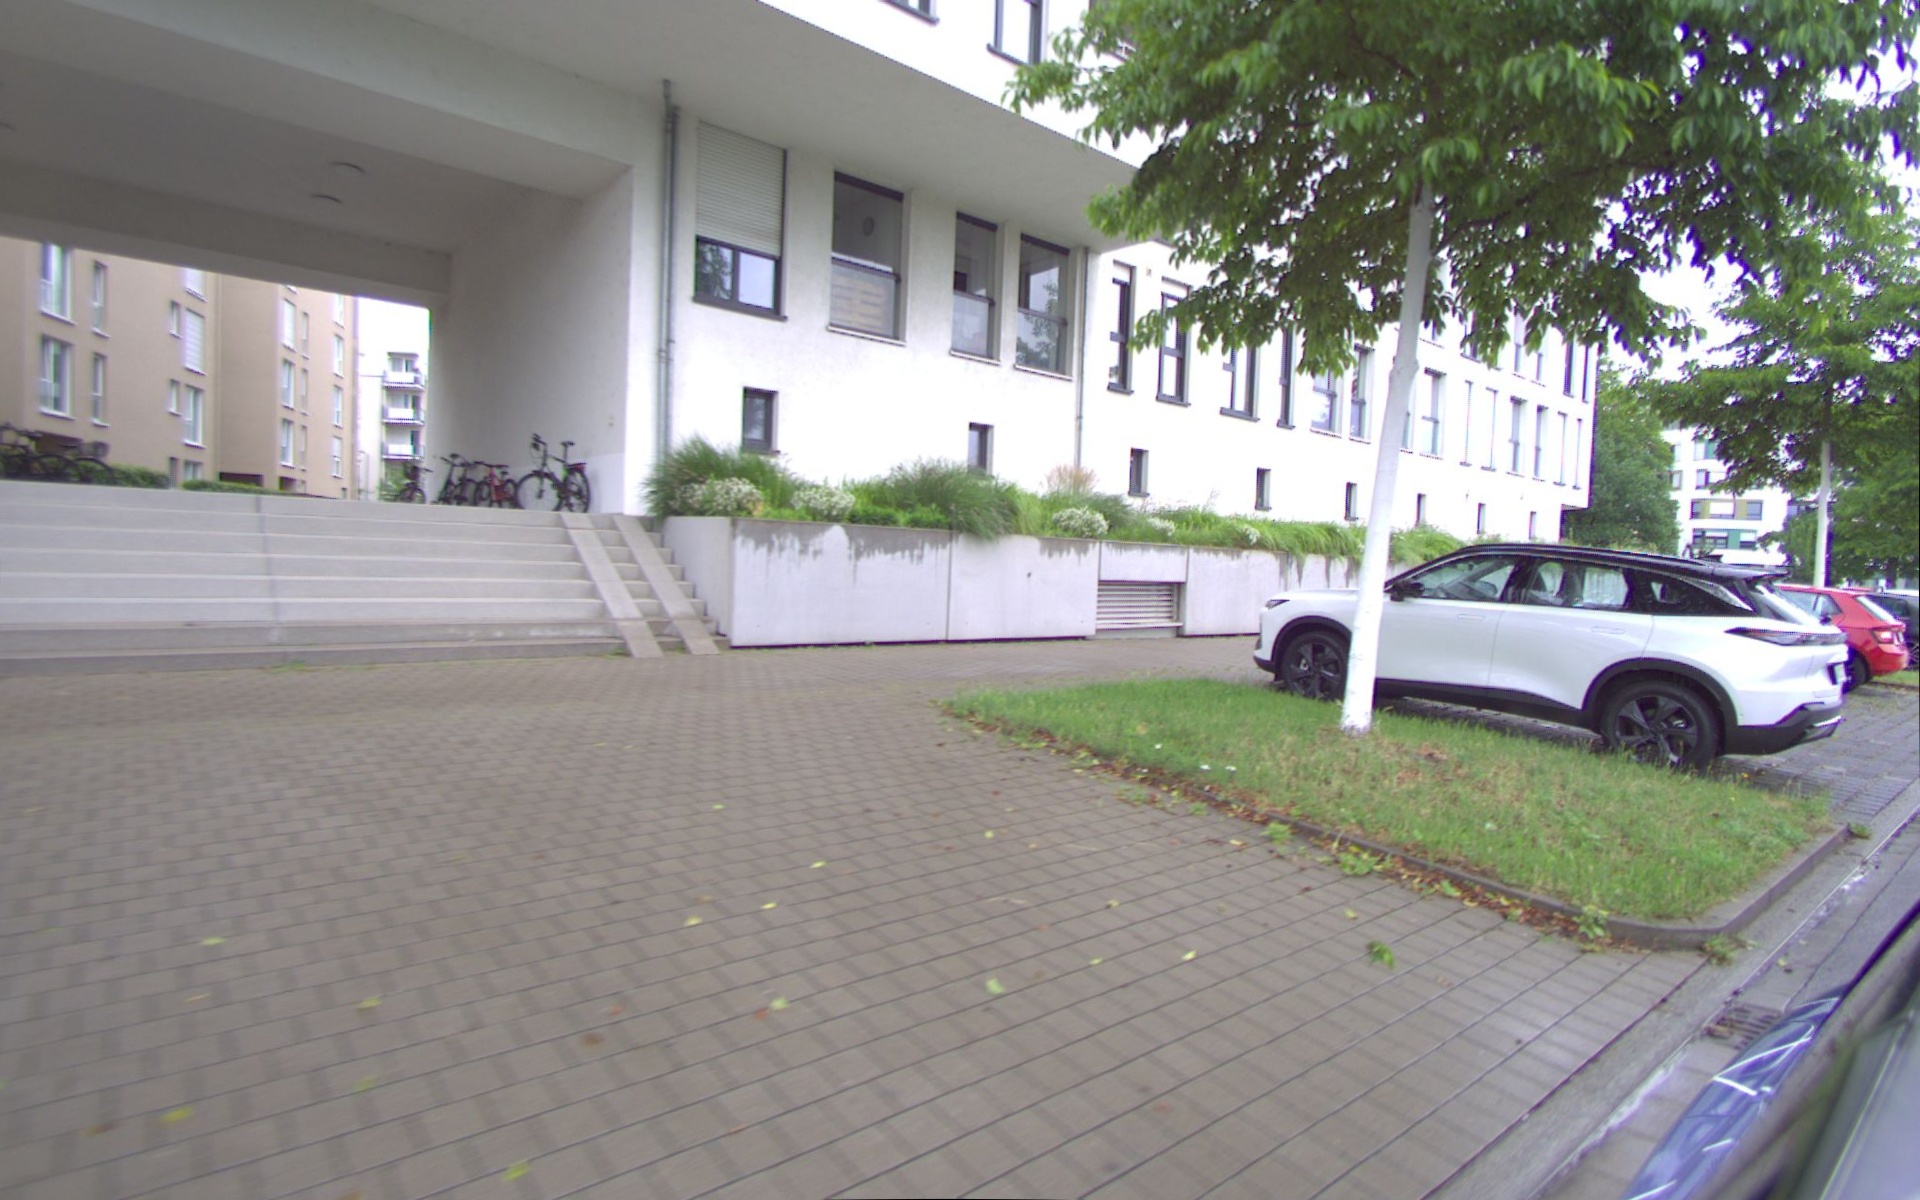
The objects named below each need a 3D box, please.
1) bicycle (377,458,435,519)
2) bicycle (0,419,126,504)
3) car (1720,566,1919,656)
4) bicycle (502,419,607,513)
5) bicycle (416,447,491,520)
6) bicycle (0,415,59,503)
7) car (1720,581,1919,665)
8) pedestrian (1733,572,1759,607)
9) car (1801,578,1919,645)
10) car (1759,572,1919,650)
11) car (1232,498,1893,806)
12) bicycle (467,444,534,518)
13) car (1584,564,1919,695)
[{"bbox_3d":[-10.658,-2.118,19.436,0.606,1.061,1.899,0,3,-40],"label":"bicycle"},{"bbox_3d":[-14.163,-2.081,15.149,0.806,1.132,2.637,2,2,14],"label":"bicycle"},{"bbox_3d":[19.691,0.214,22.566,1.605,1.573,4.000,0,6,-39],"label":"car"},{"bbox_3d":[-5.363,-1.717,13.310,0.711,1.067,1.899,0,3,-40],"label":"bicycle"},{"bbox_3d":[-8.717,-1.962,17.371,0.711,1.132,1.899,0,3,-40],"label":"bicycle"},{"bbox_3d":[-13.434,-1.914,13.062,0.898,1.132,2.965,2,2,2],"label":"bicycle"},{"bbox_3d":[17.994,0.432,20.439,1.564,1.492,3.963,0,3,-42],"label":"car"},{"bbox_3d":[46.914,-0.626,60.398,0.611,2.038,0.968,1,3,-39],"label":"pedestrian"},{"bbox_3d":[25.418,0.391,26.731,1.793,1.514,4.584,0,6,-40],"label":"car"},{"bbox_3d":[21.886,0.293,23.814,1.662,1.498,4.502,0,6,-40],"label":"car"},{"bbox_3d":[4.978,0.175,8.987,1.854,1.704,4.553,0,9,-42],"label":"car"},{"bbox_3d":[-7.209,-1.832,15.828,0.439,1.019,1.899,0,2,-40],"label":"bicycle"},{"bbox_3d":[12.342,0.325,15.784,1.789,1.468,3.998,-2,7,-40],"label":"car"}]
